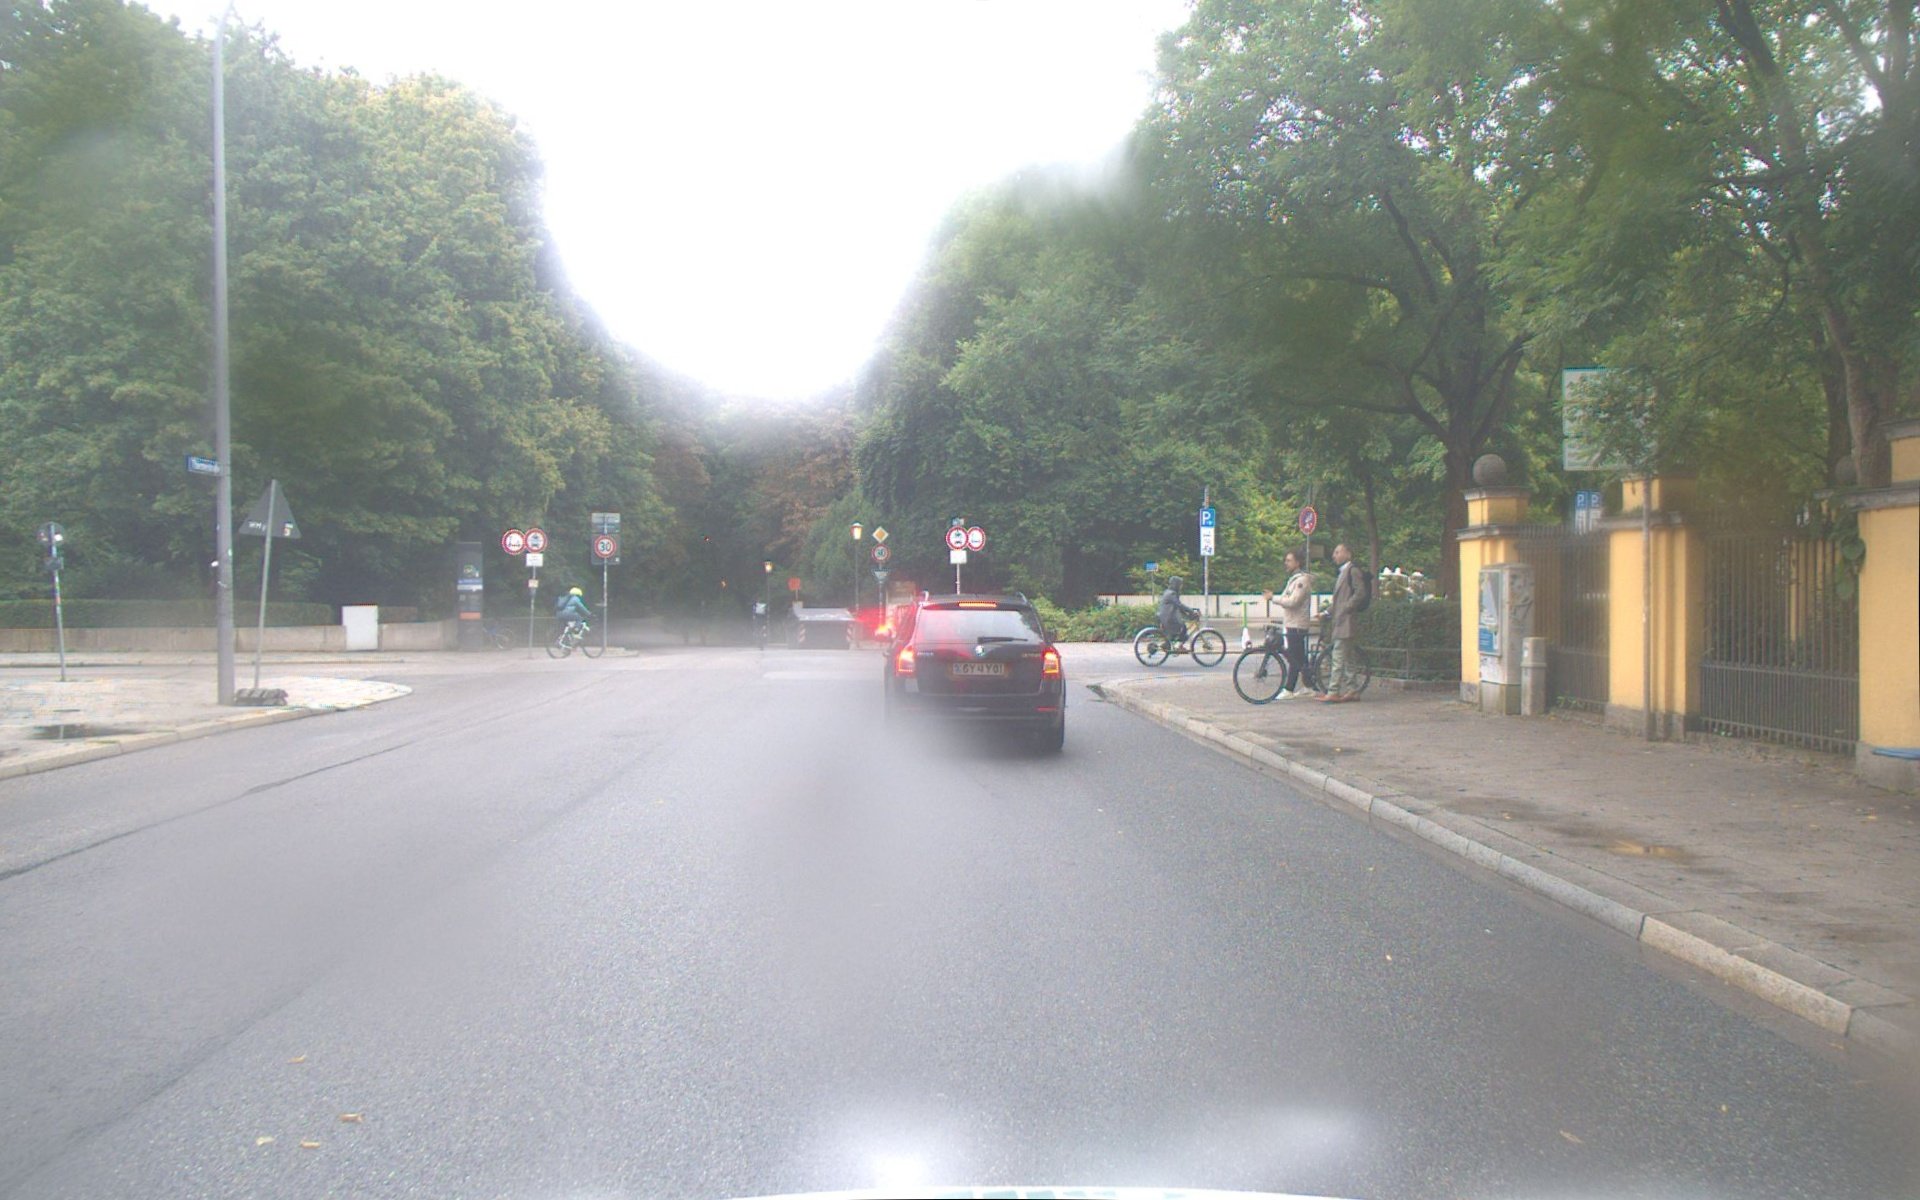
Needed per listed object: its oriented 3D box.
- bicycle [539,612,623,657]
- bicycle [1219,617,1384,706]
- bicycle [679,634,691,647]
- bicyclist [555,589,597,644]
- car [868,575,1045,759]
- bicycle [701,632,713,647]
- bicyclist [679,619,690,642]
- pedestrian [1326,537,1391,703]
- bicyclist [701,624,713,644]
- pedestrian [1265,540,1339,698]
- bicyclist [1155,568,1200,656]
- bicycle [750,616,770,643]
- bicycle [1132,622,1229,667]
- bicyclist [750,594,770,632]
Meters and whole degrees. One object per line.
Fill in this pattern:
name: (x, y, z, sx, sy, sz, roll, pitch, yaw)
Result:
bicycle: (-8.886, 0.804, 38.864, 0.667, 1.008, 2.105, -1, -1, 31)
bicycle: (4.208, 0.744, 20.389, 1.871, 0.966, 0.581, -3, 0, -10)
bicycle: (-18.969, 2.770, 114.048, 0.667, 0.844, 2.103, 0, 0, -12)
bicyclist: (-8.999, 0.380, 38.783, 0.513, 1.279, 0.852, -1, -1, 31)
car: (-0.043, 0.586, 16.639, 1.545, 1.611, 4.044, -1, 0, 0)
bicycle: (-15.641, 2.444, 102.371, 0.667, 0.844, 2.104, 0, 0, -10)
bicyclist: (-19.001, 2.088, 114.183, 0.669, 1.530, 0.898, -1, 0, -12)
pedestrian: (4.804, 0.235, 19.944, 0.531, 1.952, 0.491, -2, 0, -11)
bicyclist: (-15.652, 2.100, 102.394, 0.669, 1.208, 0.480, -1, 0, -12)
pedestrian: (4.351, 0.244, 21.058, 0.662, 1.952, 0.639, -2, 0, -11)
bicyclist: (4.047, 0.217, 30.780, 0.735, 1.613, 0.655, -1, -1, -1)
bicycle: (-6.915, 1.013, 57.287, 0.666, 0.844, 2.107, -1, 0, -6)
bicycle: (4.087, 0.824, 30.765, 1.727, 0.810, 0.570, 0, -1, -1)
bicyclist: (-6.935, 0.449, 57.342, 0.667, 1.305, 0.598, -1, 0, -7)
